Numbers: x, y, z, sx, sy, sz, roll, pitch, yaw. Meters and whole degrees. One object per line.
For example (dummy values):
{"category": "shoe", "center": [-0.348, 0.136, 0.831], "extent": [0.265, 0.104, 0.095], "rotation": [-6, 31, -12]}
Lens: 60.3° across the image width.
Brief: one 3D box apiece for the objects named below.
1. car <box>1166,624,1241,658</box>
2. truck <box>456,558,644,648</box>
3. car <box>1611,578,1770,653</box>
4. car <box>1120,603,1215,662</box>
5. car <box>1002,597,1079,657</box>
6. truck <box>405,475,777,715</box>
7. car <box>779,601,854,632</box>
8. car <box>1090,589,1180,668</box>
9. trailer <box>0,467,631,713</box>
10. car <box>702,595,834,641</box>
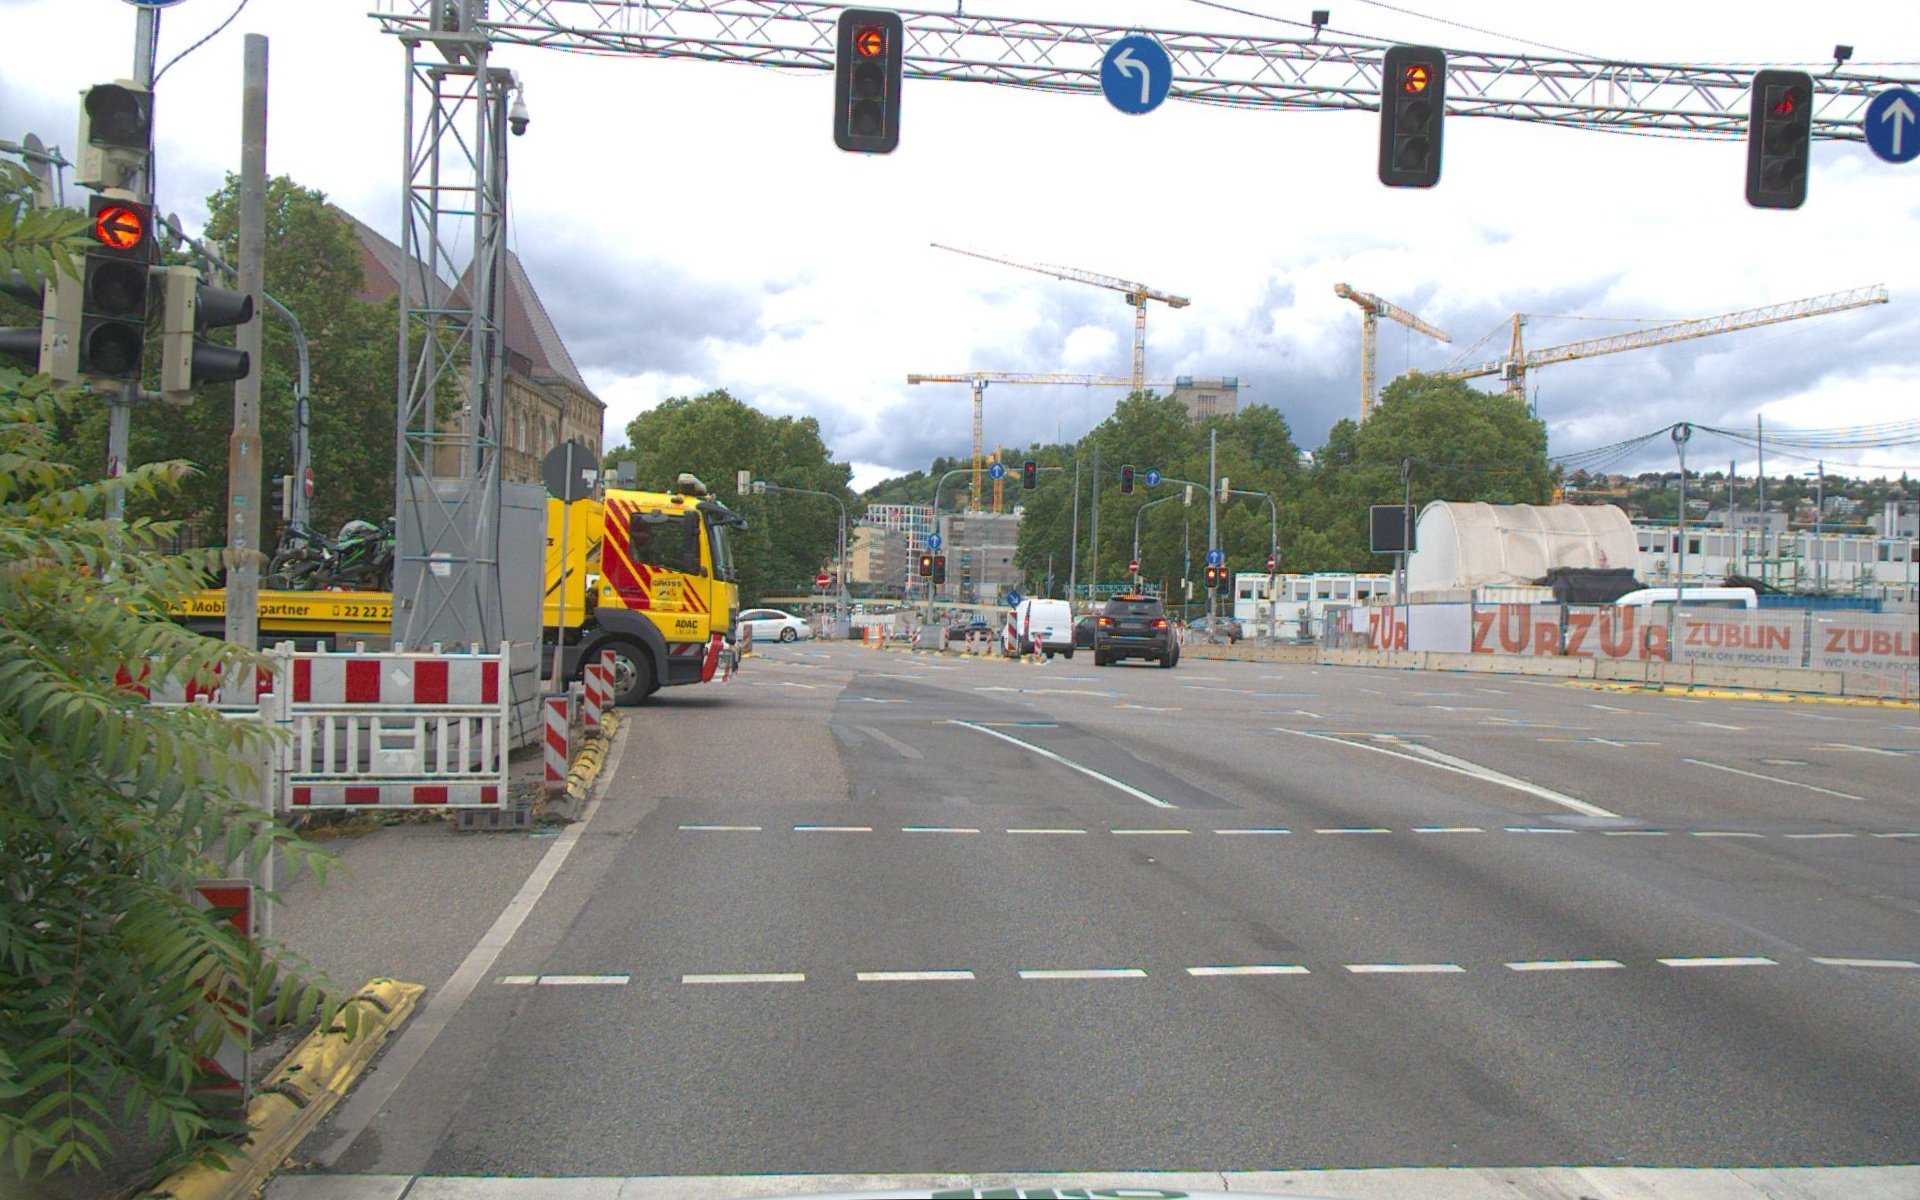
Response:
{"category": "car", "center": [13.308, 2.241, 90.282], "extent": [3.902, 1.758, 2.002], "rotation": [1, 0, 11]}
{"category": "truck", "center": [-15.339, 0.137, 61.899], "extent": [6.495, 3.201, 2.349], "rotation": [1, 0, -24]}
{"category": "car", "center": [21.055, 0.445, 47.818], "extent": [3.902, 2.049, 2.001], "rotation": [1, 0, 15]}
{"category": "car", "center": [6.645, 1.012, 53.450], "extent": [1.956, 1.790, 4.497], "rotation": [1, 0, -8]}
{"category": "car", "center": [2.567, 0.849, 53.834], "extent": [1.828, 1.865, 4.716], "rotation": [1, 0, -5]}
{"category": "truck", "center": [-4.526, -0.048, 21.068], "extent": [4.120, 2.773, 2.861], "rotation": [1, 0, -2]}
{"category": "car", "center": [-8.098, 0.916, 93.528], "extent": [3.902, 1.691, 2.001], "rotation": [1, 0, 6]}
{"category": "car", "center": [4.525, 0.706, 42.197], "extent": [1.951, 1.866, 4.261], "rotation": [1, 0, 10]}
{"category": "trailer", "center": [-8.020, -0.103, 20.854], "extent": [7.203, 2.773, 2.860], "rotation": [1, 0, -4]}
{"category": "car", "center": [-8.042, 0.764, 69.219], "extent": [5.101, 1.816, 2.149], "rotation": [1, 0, -24]}
